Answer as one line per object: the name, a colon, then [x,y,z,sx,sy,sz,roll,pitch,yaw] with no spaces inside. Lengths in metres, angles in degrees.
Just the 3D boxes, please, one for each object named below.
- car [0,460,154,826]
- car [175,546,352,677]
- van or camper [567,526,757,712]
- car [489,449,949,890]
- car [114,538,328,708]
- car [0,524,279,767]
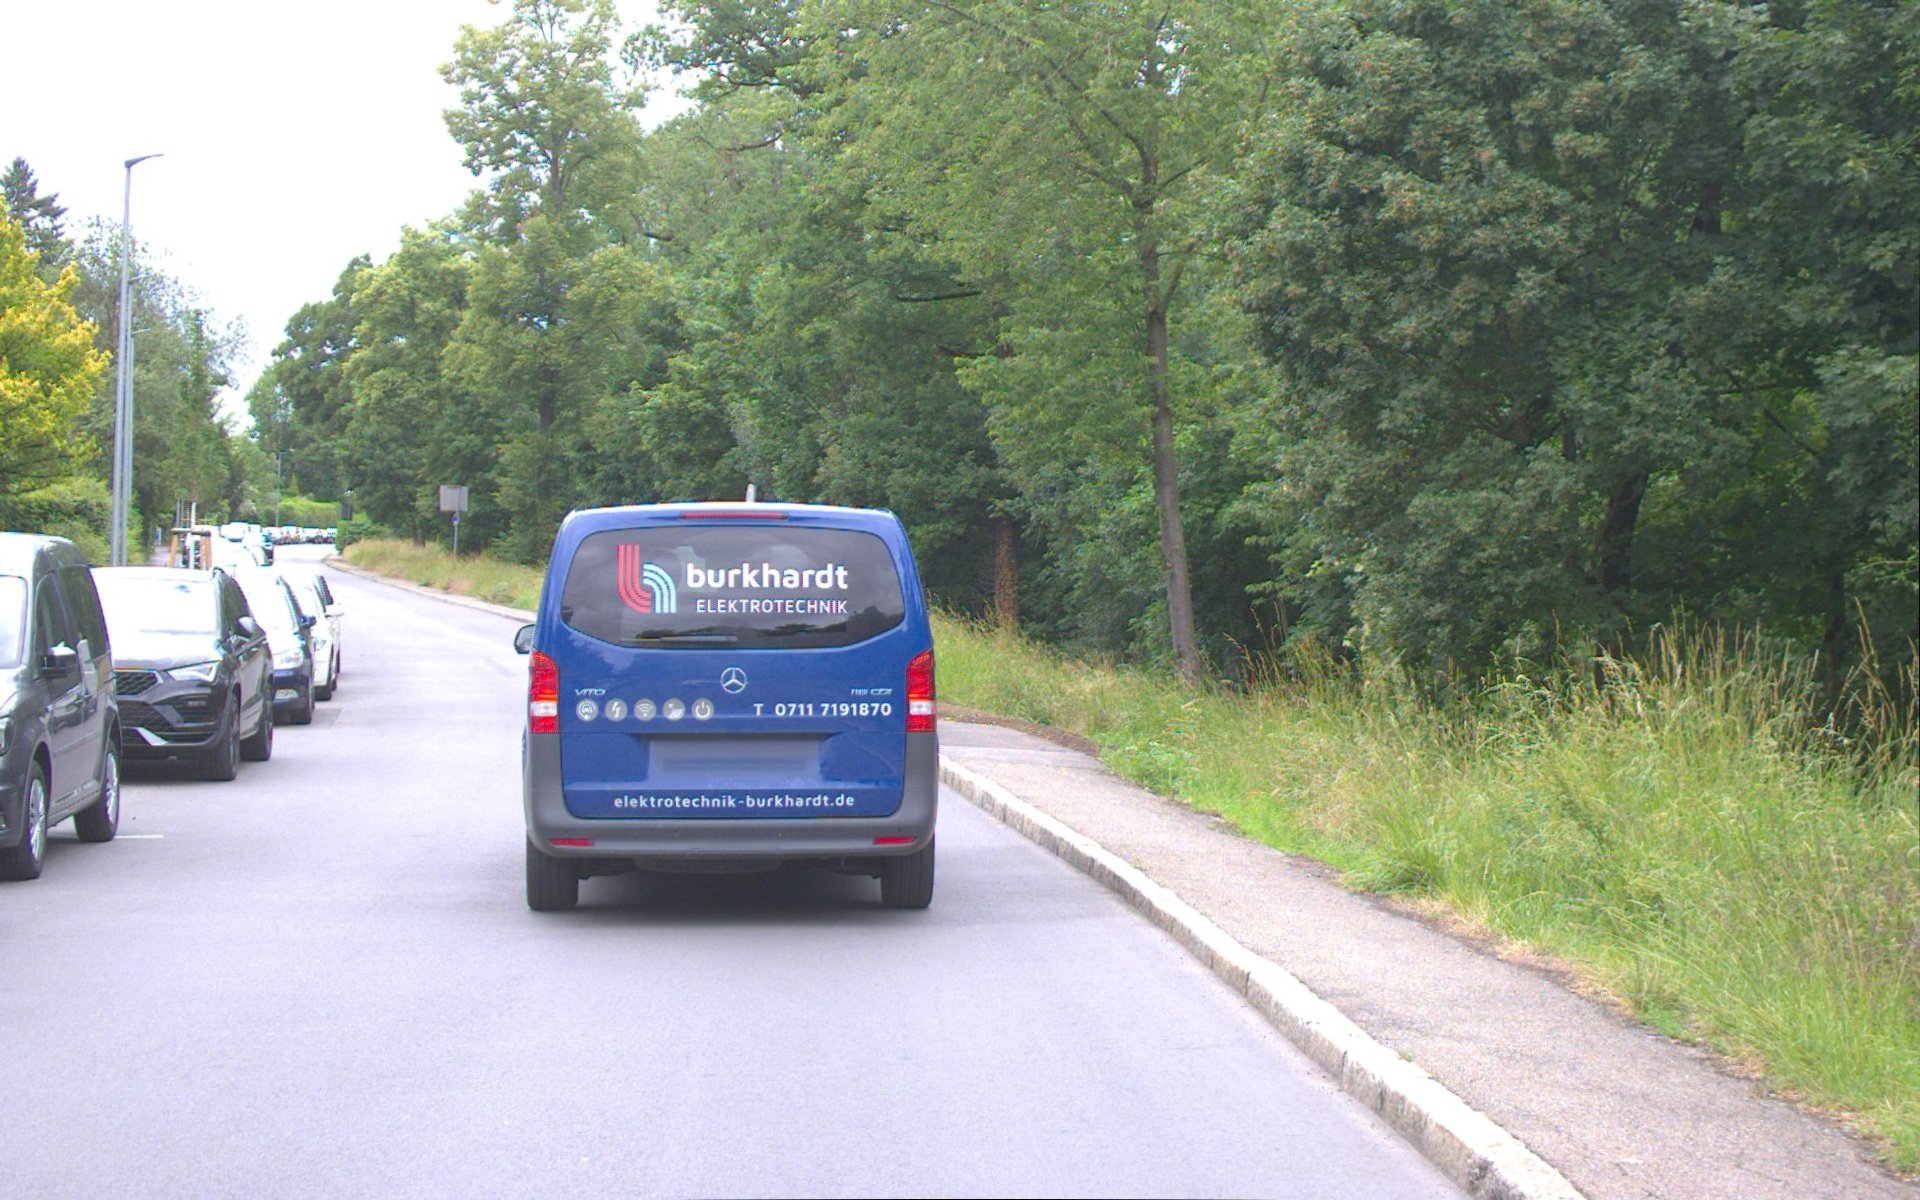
car: [-5.573,0.225,18.681,1.744,1.758,4.414,1,-1,-6]
car: [-8.282,0.136,41.137,1.607,1.338,3.856,6,-1,-6]
van or camper: [-3.516,0.148,39.796,2.019,1.950,4.897,-1,2,-7]
car: [-1.231,0.295,16.932,1.913,1.831,4.294,2,0,-5]
car: [-7.574,0.226,35.521,1.607,1.508,3.856,6,-1,-6]
car: [-6.548,0.304,26.995,1.815,1.610,4.224,6,0,-6]
